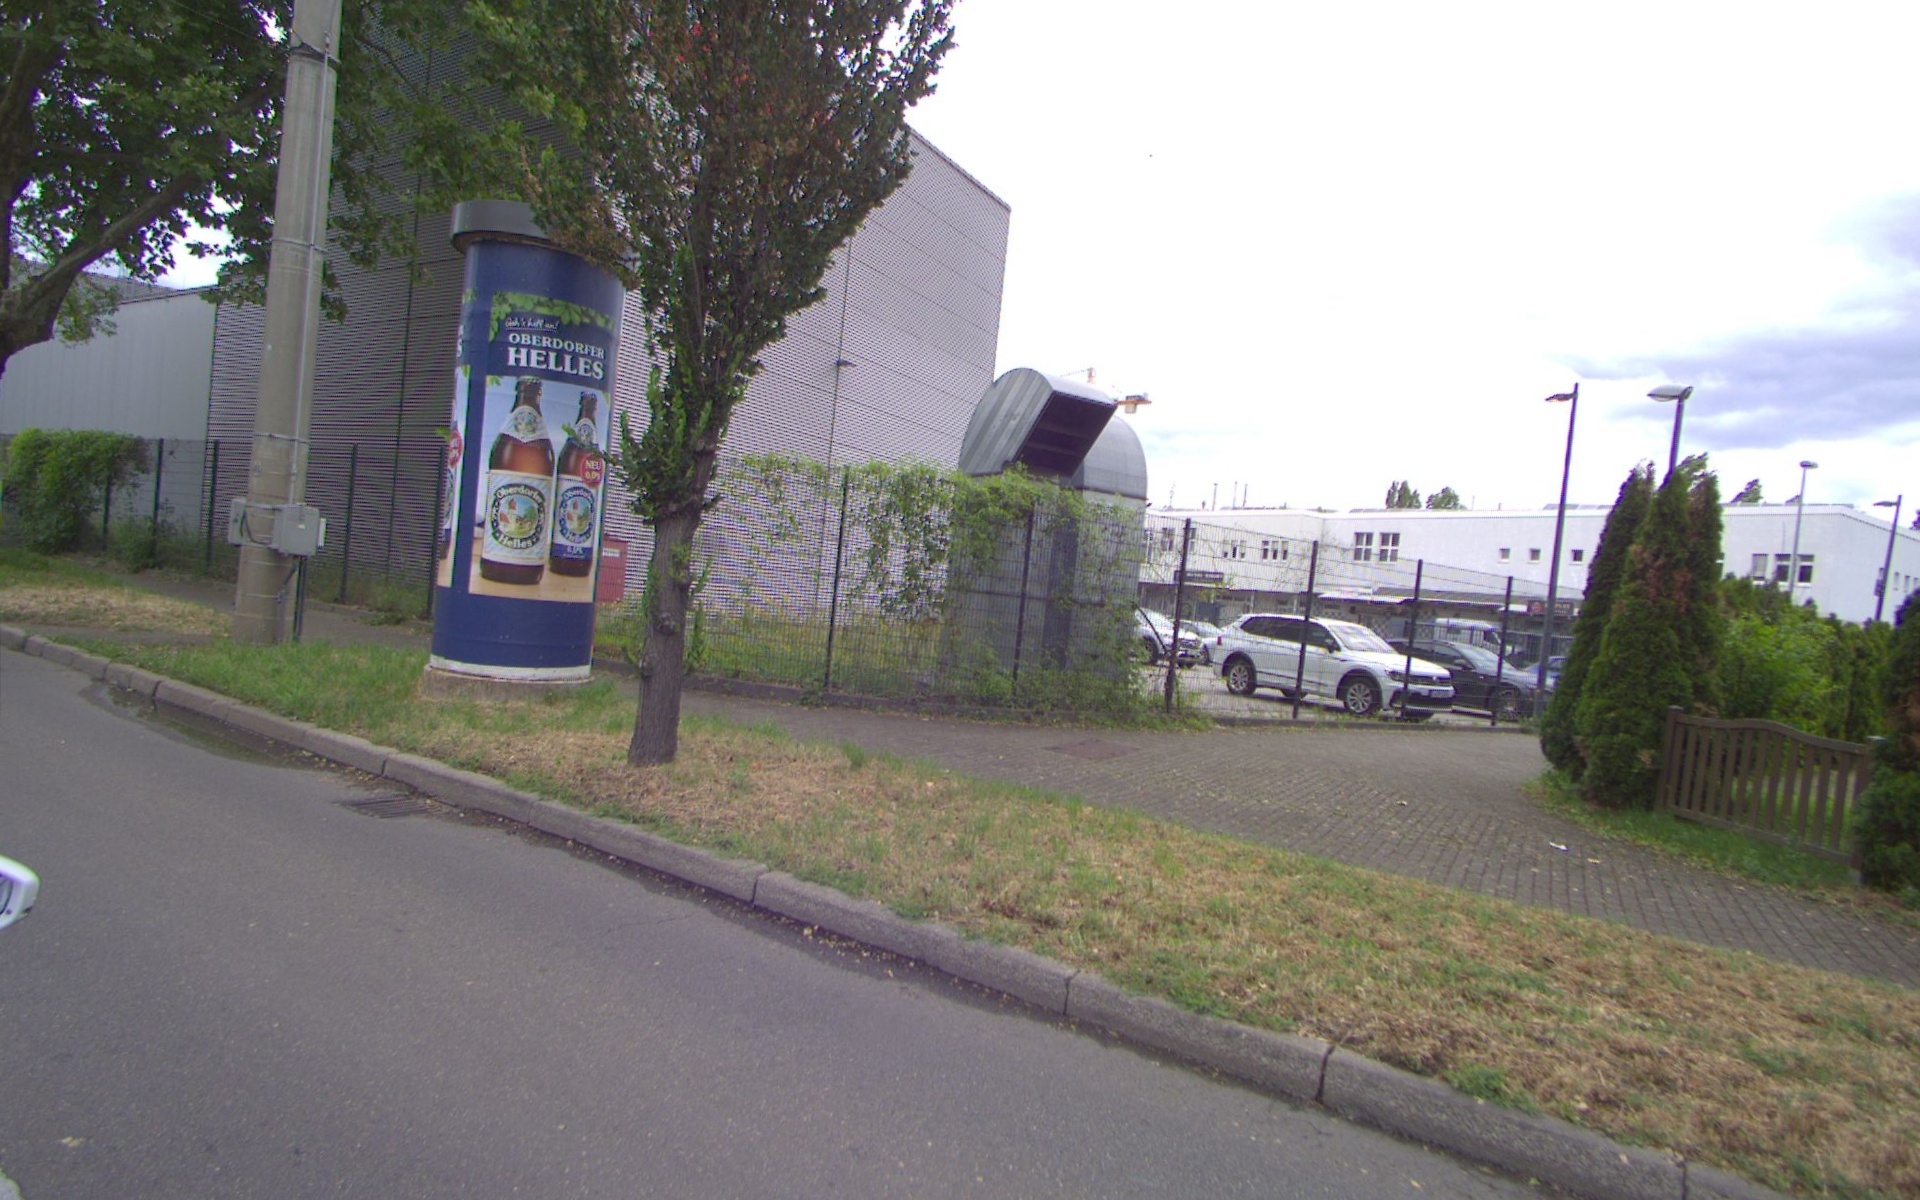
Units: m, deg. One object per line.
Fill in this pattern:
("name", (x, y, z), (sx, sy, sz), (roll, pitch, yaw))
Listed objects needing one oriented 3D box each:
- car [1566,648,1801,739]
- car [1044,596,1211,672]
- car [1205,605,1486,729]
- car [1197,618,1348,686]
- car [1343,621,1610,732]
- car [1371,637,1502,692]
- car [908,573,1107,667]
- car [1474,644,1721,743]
("car", (18.757, 2.377, 26.303), (1.979, 1.686, 4.464), (6, 1, -31))
("car", (4.855, 0.959, 29.575), (4.418, 1.687, 1.999), (6, 1, -1))
("car", (6.954, 1.162, 18.640), (1.979, 1.686, 4.464), (6, 1, -31))
("car", (10.036, 1.648, 32.575), (1.982, 1.668, 4.233), (8, -2, -34))
("car", (10.619, 1.526, 21.045), (1.979, 1.686, 4.464), (6, 1, -31))
("car", (19.168, 2.572, 40.602), (1.982, 1.668, 4.233), (8, -2, -34))
("car", (1.127, 0.467, 24.218), (4.197, 1.668, 1.999), (6, -2, 29))
("car", (15.088, 2.167, 24.081), (1.979, 1.686, 4.464), (6, 1, -31))
